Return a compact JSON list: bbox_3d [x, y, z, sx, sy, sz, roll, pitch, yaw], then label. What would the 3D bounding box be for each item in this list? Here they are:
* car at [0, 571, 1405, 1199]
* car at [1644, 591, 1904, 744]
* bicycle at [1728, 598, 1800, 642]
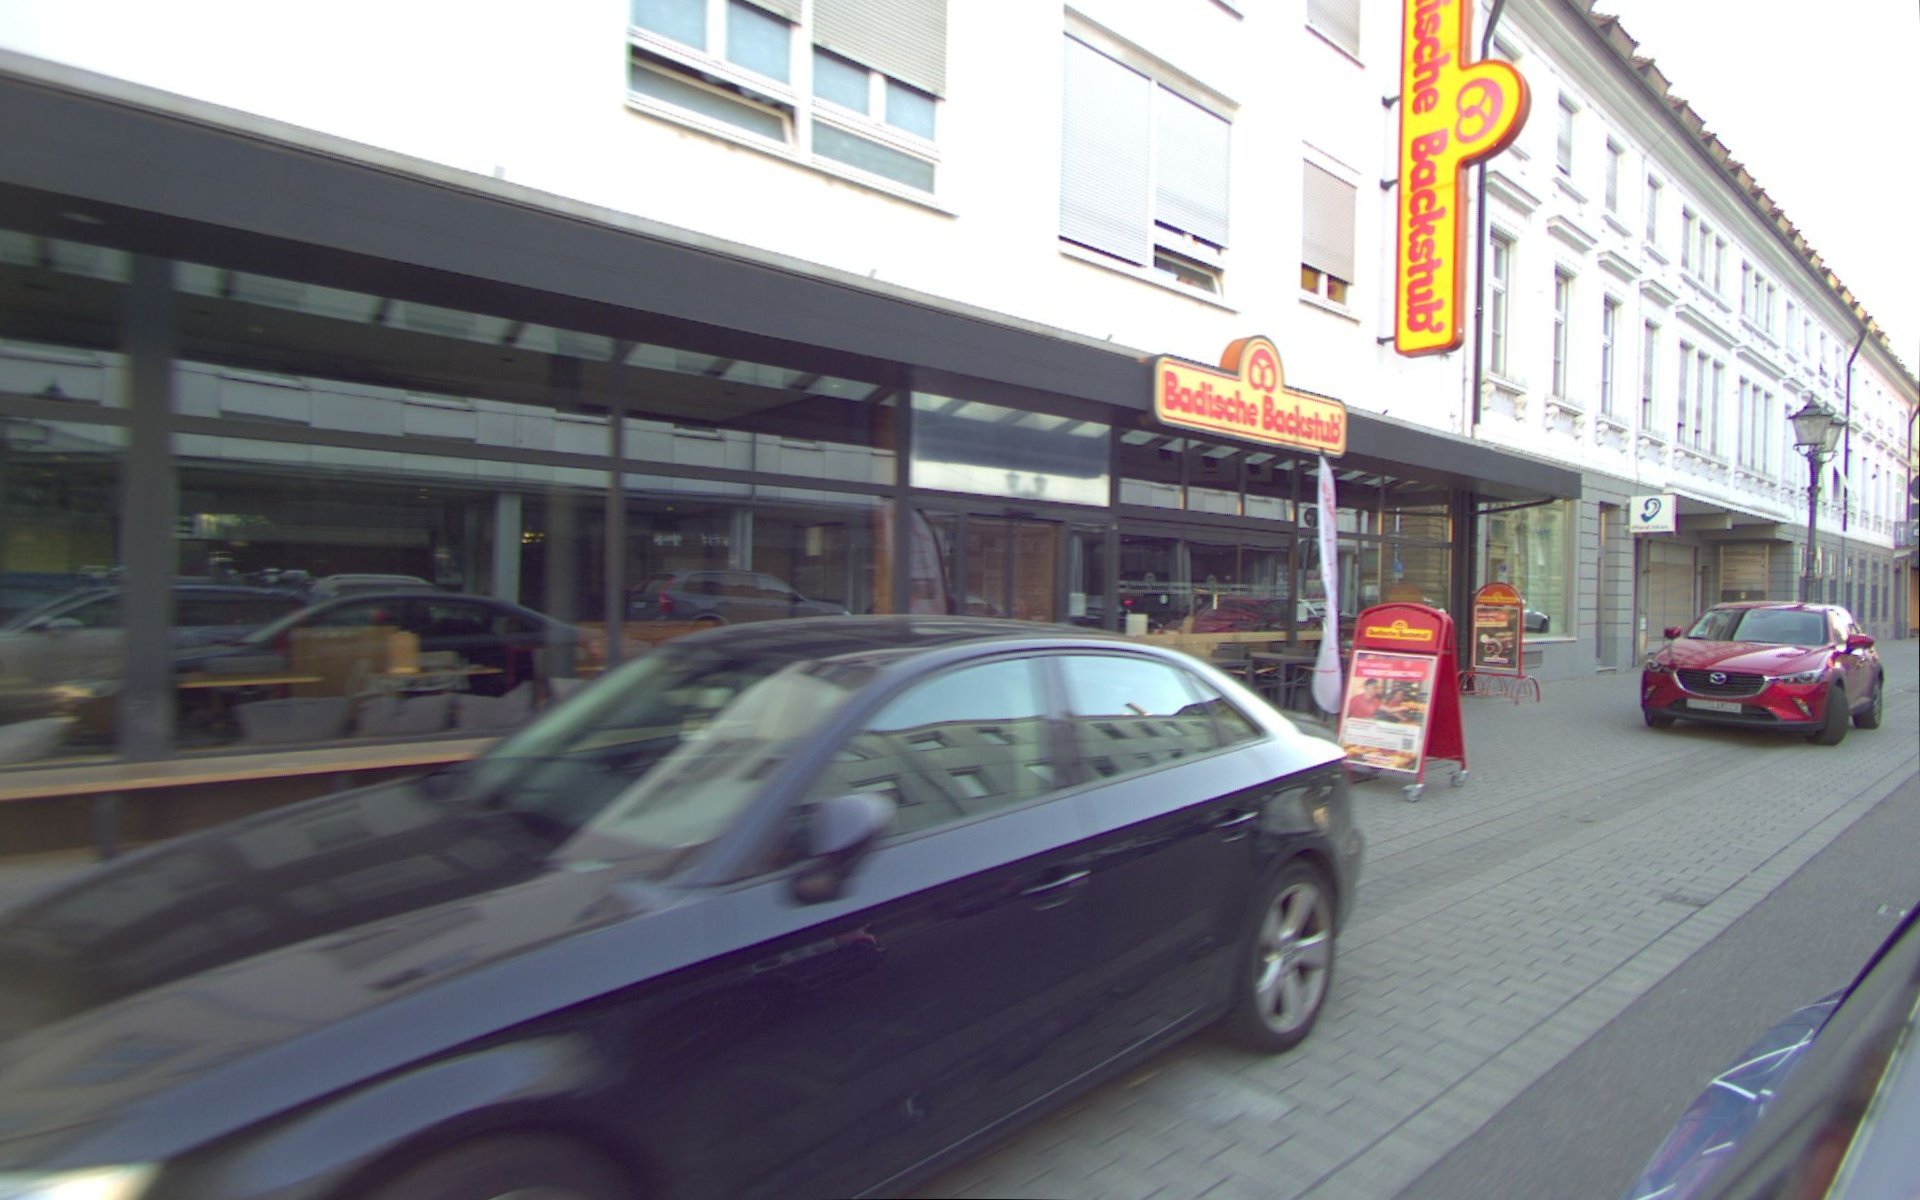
[{"bbox_3d":[-0.443,0.696,3.029,4.048,1.482,1.804,0,2,-43],"label":"car"},{"bbox_3d":[9.877,0.689,12.201,3.612,1.542,1.763,0,1,-40],"label":"car"},{"bbox_3d":[24.456,0.587,30.804,0.431,1.268,1.659,1,1,-42],"label":"bicycle"}]
